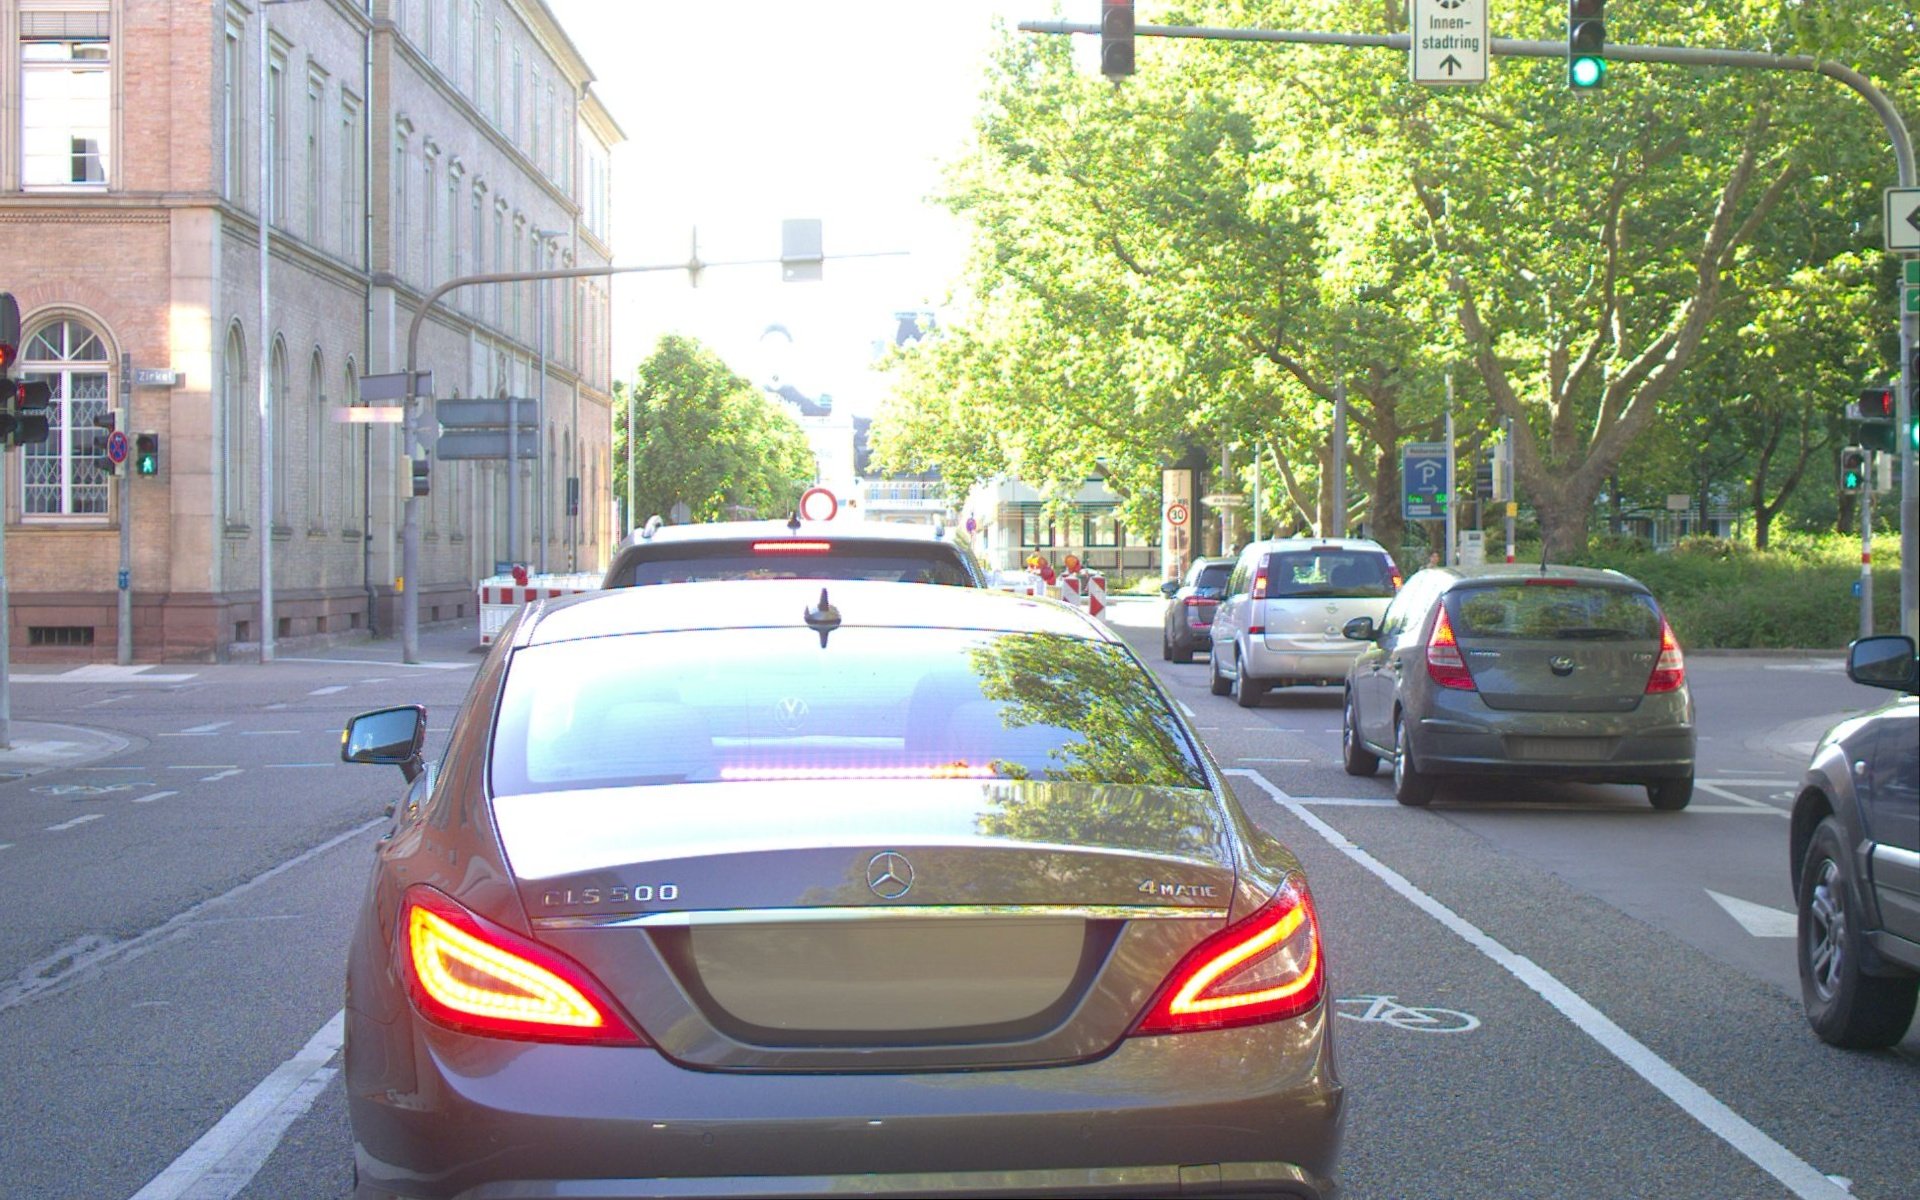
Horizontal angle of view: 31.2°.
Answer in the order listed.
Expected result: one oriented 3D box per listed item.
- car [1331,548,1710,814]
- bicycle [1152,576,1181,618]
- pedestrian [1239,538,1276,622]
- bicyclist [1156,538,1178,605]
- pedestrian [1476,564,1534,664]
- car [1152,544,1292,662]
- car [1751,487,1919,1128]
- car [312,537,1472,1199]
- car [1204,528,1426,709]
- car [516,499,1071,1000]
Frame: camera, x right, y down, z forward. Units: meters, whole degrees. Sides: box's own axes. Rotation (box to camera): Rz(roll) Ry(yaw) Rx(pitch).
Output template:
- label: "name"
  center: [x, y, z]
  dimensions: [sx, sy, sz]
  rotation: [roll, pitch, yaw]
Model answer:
- label: "car"
  center: [3.462, 0.441, 21.921]
  dimensions: [1.704, 1.514, 4.000]
  rotation: [1, 1, -1]
- label: "bicycle"
  center: [6.303, -0.100, 105.011]
  dimensions: [0.591, 1.259, 1.806]
  rotation: [1, 1, -5]
- label: "pedestrian"
  center: [6.246, -0.423, 72.178]
  dimensions: [0.635, 1.754, 0.699]
  rotation: [1, 0, -4]
- label: "bicyclist"
  center: [6.317, -0.862, 104.958]
  dimensions: [0.594, 2.032, 0.566]
  rotation: [1, 0, -4]
- label: "pedestrian"
  center: [8.505, 0.217, 53.675]
  dimensions: [0.635, 1.540, 0.910]
  rotation: [1, 0, -7]
- label: "car"
  center: [3.599, 0.018, 47.653]
  dimensions: [1.601, 1.543, 3.681]
  rotation: [1, 1, -1]
- label: "car"
  center: [3.573, 0.582, 9.098]
  dimensions: [1.861, 1.758, 4.482]
  rotation: [1, 1, -1]
- label: "car"
  center: [-0.365, 0.628, 7.489]
  dimensions: [1.861, 1.514, 4.001]
  rotation: [0, 1, -8]
- label: "car"
  center: [3.422, 0.152, 33.718]
  dimensions: [1.731, 1.656, 3.681]
  rotation: [1, 1, -1]
- label: "car"
  center: [-0.586, 0.473, 13.620]
  dimensions: [1.861, 1.677, 4.000]
  rotation: [1, 1, -1]
